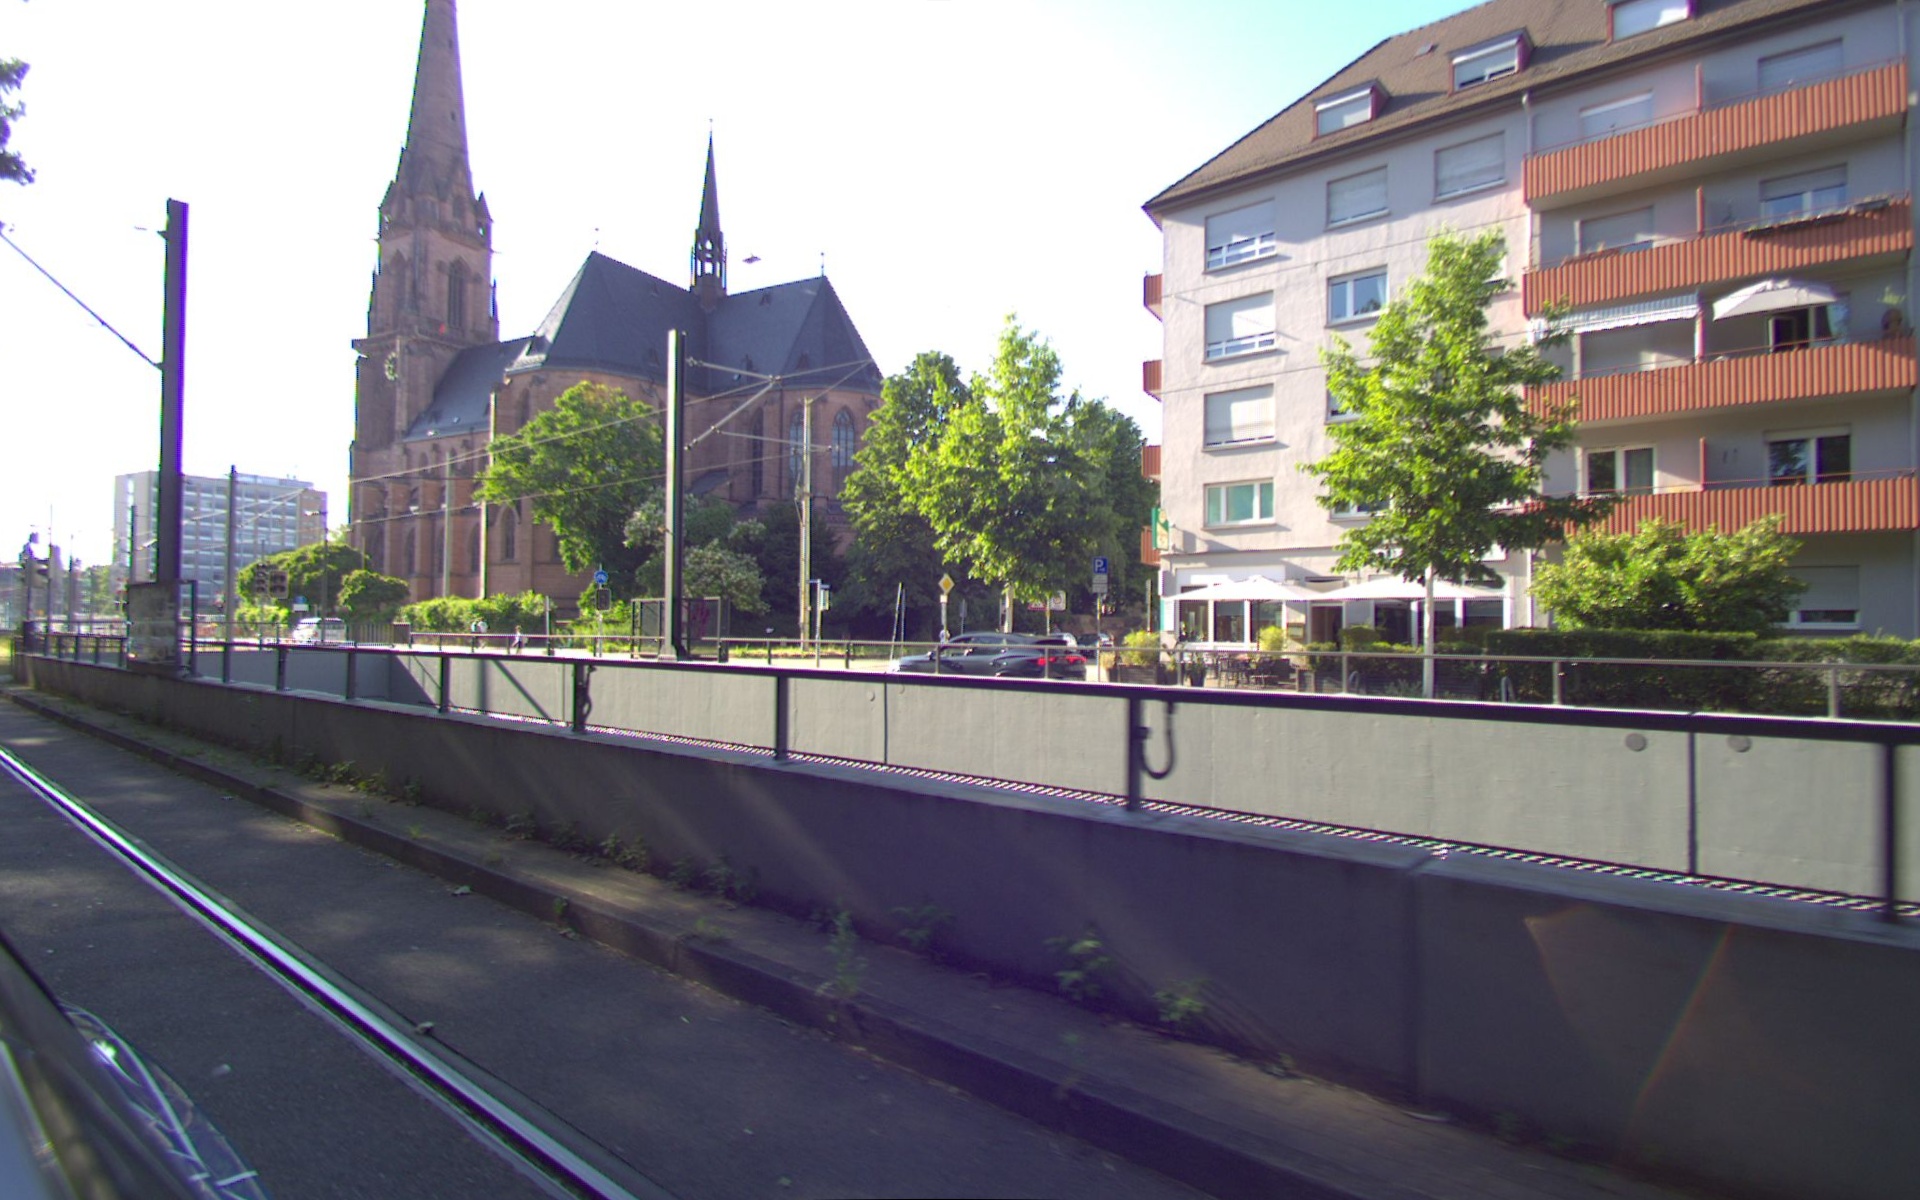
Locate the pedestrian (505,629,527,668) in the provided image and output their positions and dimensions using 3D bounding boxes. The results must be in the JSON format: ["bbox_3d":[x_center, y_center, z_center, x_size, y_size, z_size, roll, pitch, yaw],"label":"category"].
[{"bbox_3d":[-19.495,2.120,44.453,0.751,1.686,0.490,-2,0,26],"label":"pedestrian"}]

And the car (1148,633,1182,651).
[{"bbox_3d":[17.307,3.540,85.343,1.692,1.431,3.637,-1,-1,30],"label":"car"}]

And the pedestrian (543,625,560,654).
[{"bbox_3d":[-26.125,2.527,64.790,0.945,1.798,0.580,-2,0,38],"label":"pedestrian"}]

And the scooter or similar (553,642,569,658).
[{"bbox_3d":[-23.385,2.928,59.330,0.913,0.943,0.306,-2,0,20],"label":"scooter or similar"}]

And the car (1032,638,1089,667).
[{"bbox_3d":[5.571,2.838,55.619,1.693,1.431,3.635,-1,-1,32],"label":"car"}]

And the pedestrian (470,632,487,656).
[{"bbox_3d":[-29.822,2.720,62.693,0.945,1.500,0.580,-2,0,38],"label":"pedestrian"}]

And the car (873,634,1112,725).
[{"bbox_3d":[0.562,1.466,19.925,4.403,1.516,1.952,-1,0,39],"label":"car"}]

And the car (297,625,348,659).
[{"bbox_3d":[-39.946,2.598,63.367,1.968,2.029,5.020,4,-4,-40],"label":"car"}]

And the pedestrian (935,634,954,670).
[{"bbox_3d":[-0.743,2.452,47.860,0.720,1.667,0.505,-2,0,39],"label":"pedestrian"}]
